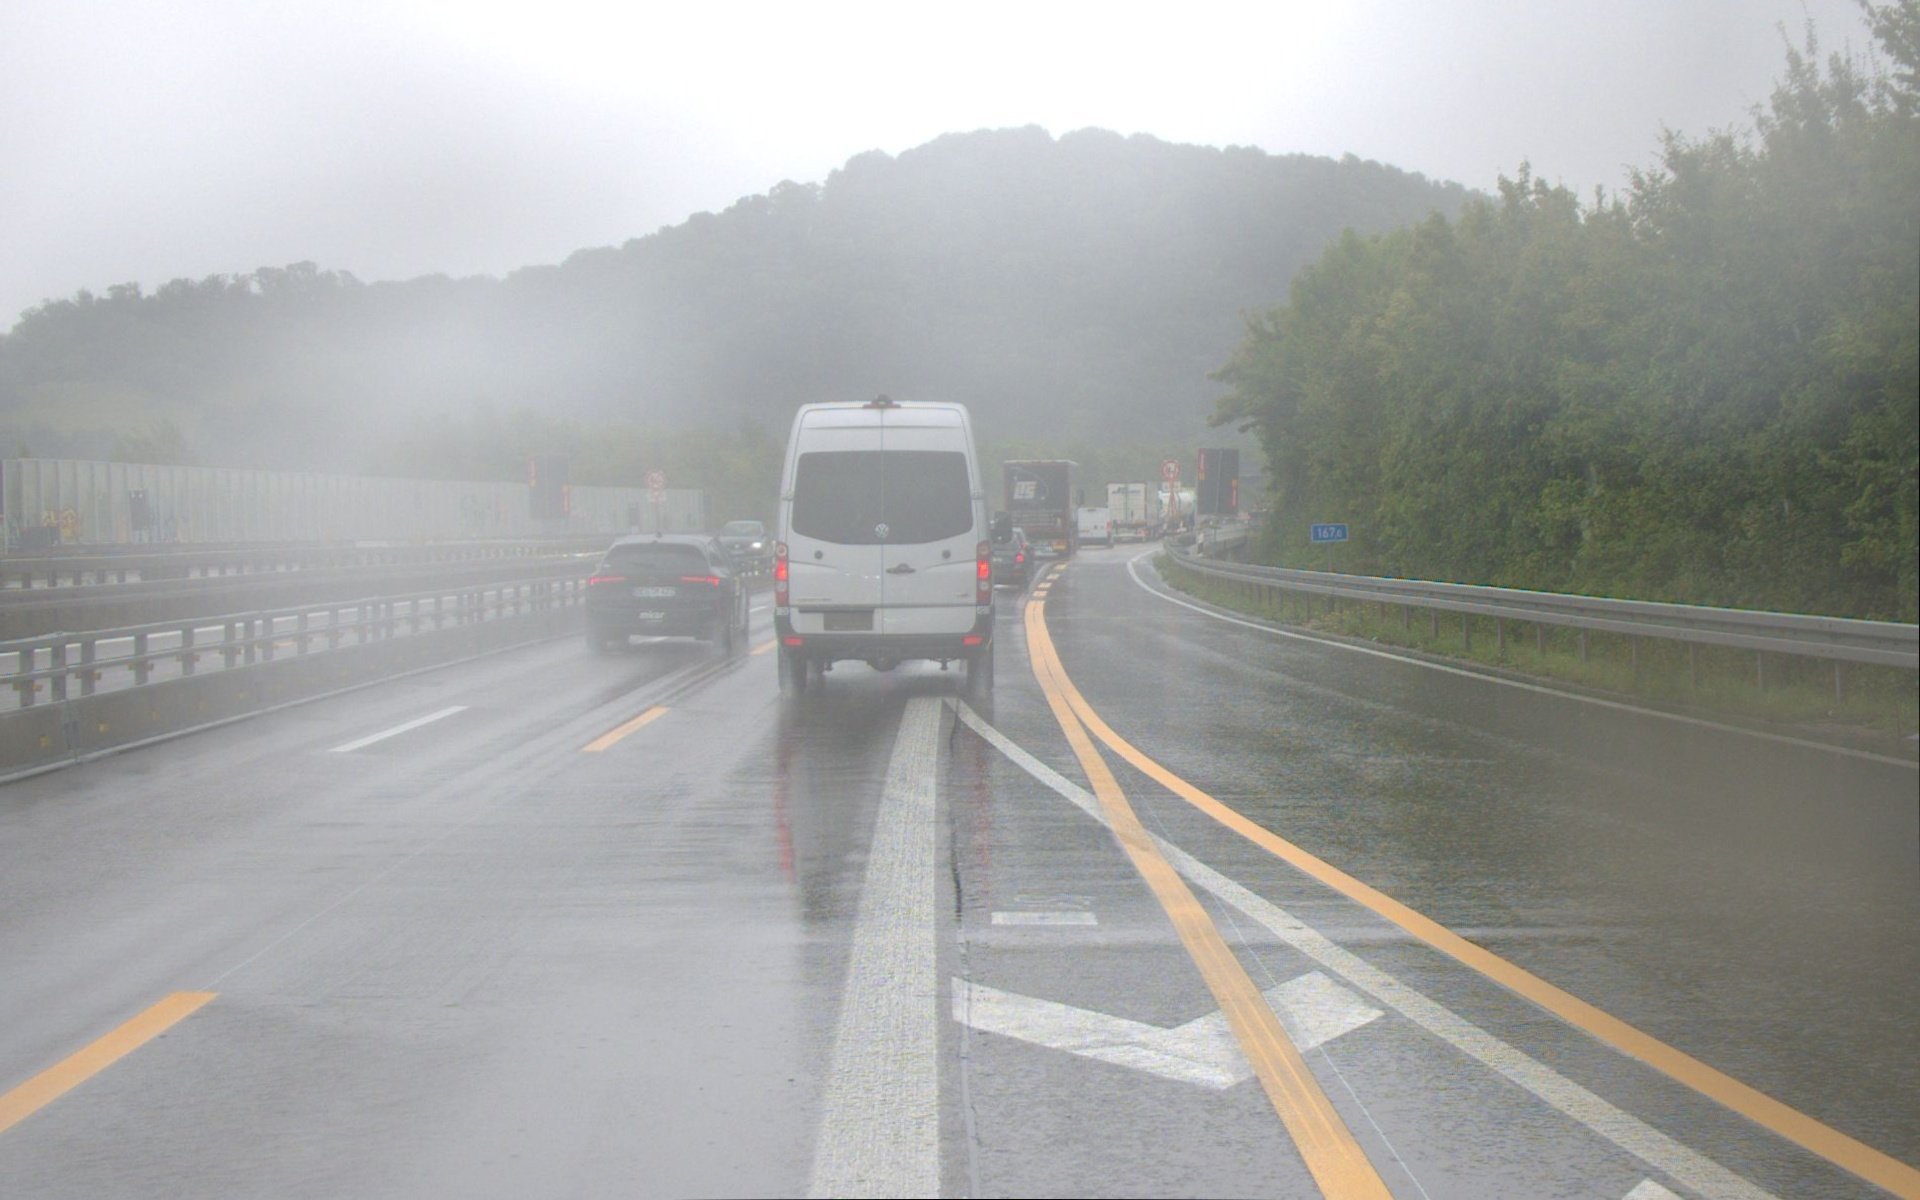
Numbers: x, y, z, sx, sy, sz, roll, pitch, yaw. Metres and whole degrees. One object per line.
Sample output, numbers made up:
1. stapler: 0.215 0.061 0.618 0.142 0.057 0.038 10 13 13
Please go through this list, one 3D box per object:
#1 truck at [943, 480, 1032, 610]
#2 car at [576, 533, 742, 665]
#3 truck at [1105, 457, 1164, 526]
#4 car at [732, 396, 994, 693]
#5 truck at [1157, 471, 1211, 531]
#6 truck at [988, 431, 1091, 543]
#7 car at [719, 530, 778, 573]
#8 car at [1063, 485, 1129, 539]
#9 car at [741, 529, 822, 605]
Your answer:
1. truck: 0.751 -1.389 86.579 1.993 3.098 8.498 0 1 2
2. car: -3.691 -0.051 42.645 1.946 1.556 4.001 0 1 -4
3. truck: 11.531 -7.118 226.054 3.037 4.391 9.621 1 1 8
4. car: -0.820 -0.534 32.593 2.145 2.562 5.389 0 1 2
5. truck: 16.958 -7.448 259.576 2.900 4.391 9.620 1 1 11
6. truck: 3.333 -4.556 140.603 3.582 4.391 9.622 0 1 5
7. car: -7.541 -1.736 122.844 1.847 1.497 4.130 0 1 0
8. car: 7.490 -4.798 188.380 2.899 2.877 6.409 1 1 8
9. car: -3.948 -0.753 76.665 1.707 1.622 4.000 0 1 -2
